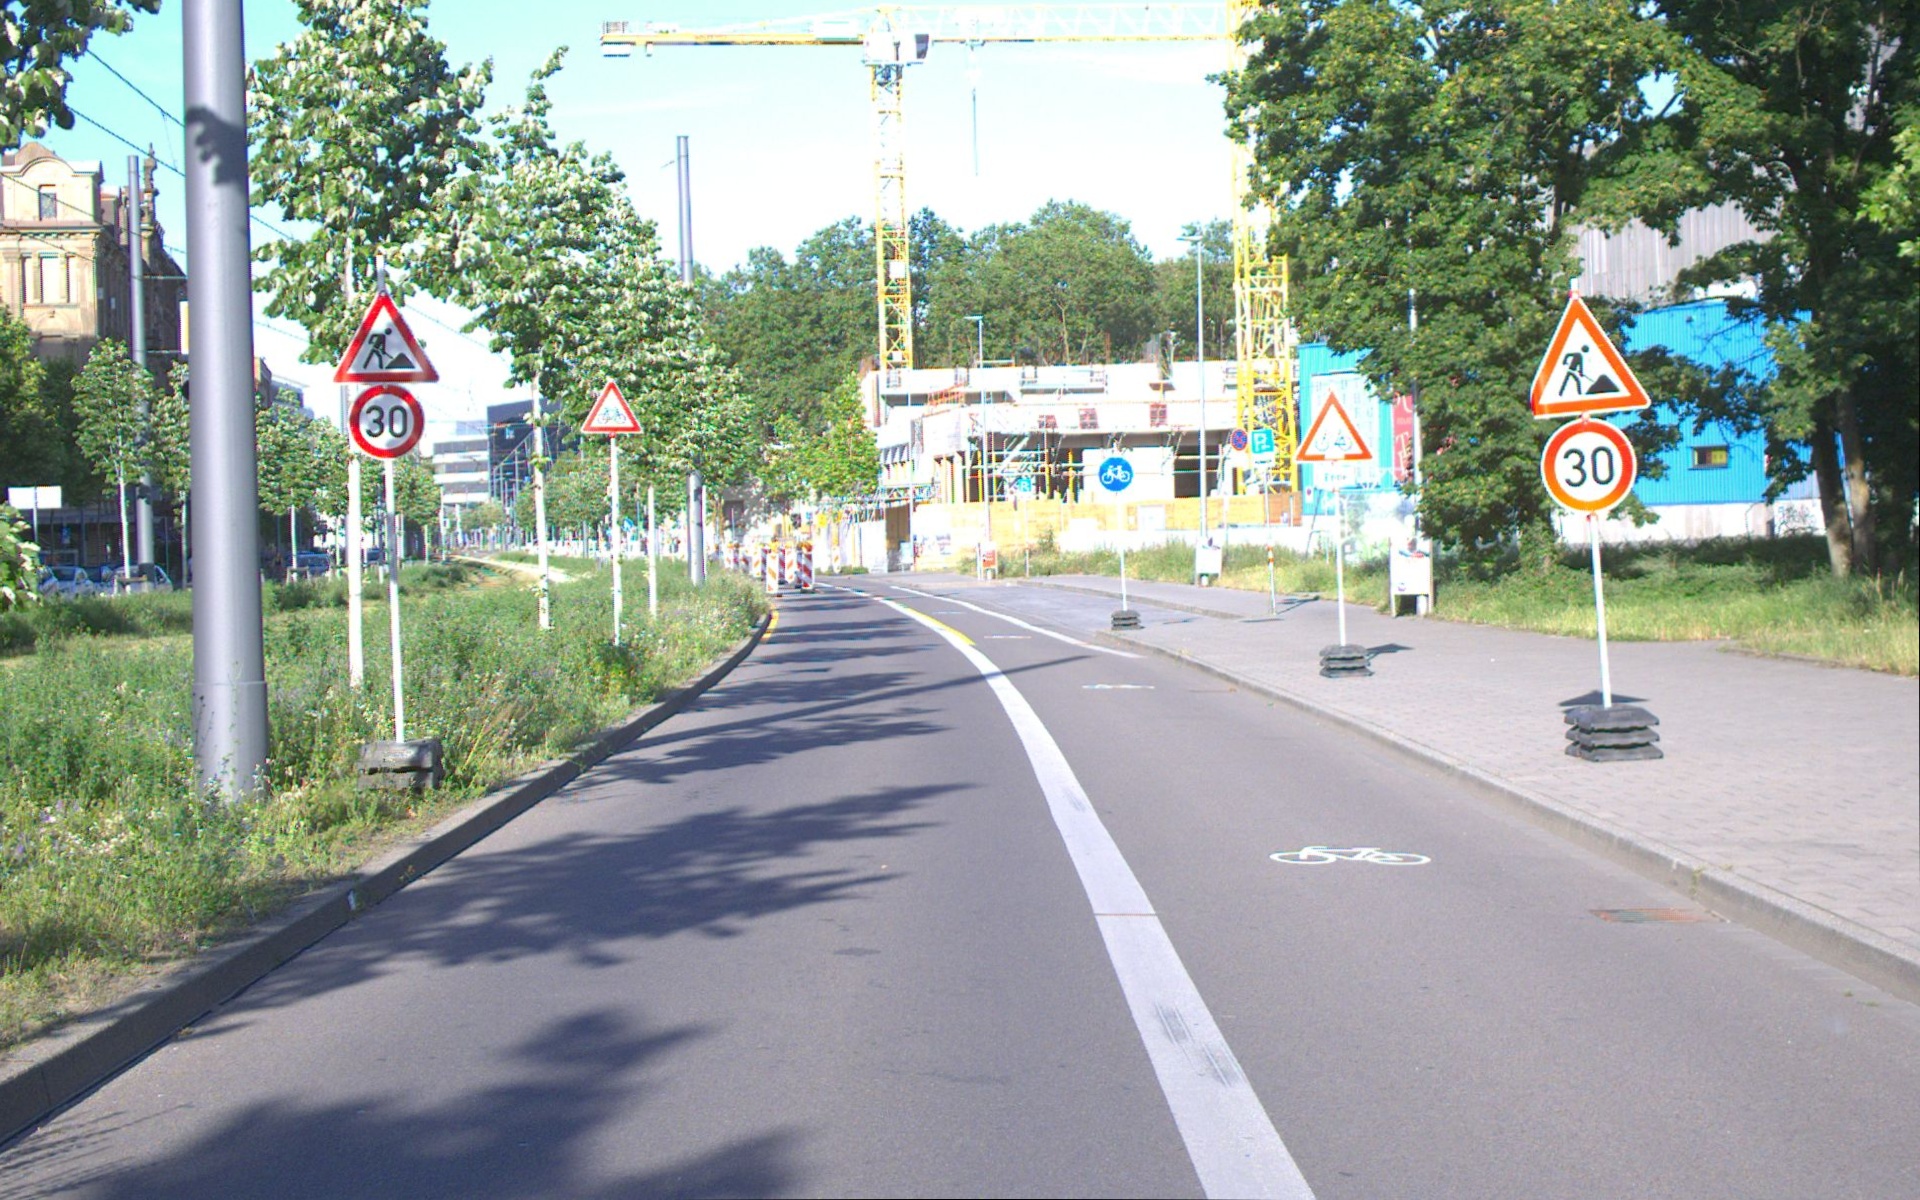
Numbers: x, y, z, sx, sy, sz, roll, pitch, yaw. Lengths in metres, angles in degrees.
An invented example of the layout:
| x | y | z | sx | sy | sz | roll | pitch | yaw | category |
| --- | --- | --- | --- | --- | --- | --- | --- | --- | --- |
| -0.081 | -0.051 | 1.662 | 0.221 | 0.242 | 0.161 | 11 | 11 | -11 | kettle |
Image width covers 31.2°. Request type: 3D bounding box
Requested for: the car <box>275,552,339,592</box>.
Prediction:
| x | y | z | sx | sy | sz | roll | pitch | yaw | category |
| --- | --- | --- | --- | --- | --- | --- | --- | --- | --- |
| -26.981 | -1.169 | 142.183 | 1.903 | 1.570 | 4.301 | -2 | 1 | -2 | car |

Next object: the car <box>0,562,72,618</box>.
| x | y | z | sx | sy | sz | roll | pitch | yaw | category |
| --- | --- | --- | --- | --- | --- | --- | --- | --- | --- |
| -28.378 | -0.300 | 104.186 | 1.903 | 1.570 | 4.301 | -2 | 1 | -2 | car |

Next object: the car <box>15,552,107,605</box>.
| x | y | z | sx | sy | sz | roll | pitch | yaw | category |
| --- | --- | --- | --- | --- | --- | --- | --- | --- | --- |
| -28.728 | -0.718 | 109.975 | 1.903 | 1.570 | 4.301 | -2 | 1 | -2 | car |

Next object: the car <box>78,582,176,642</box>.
| x | y | z | sx | sy | sz | roll | pitch | yaw | category |
| --- | --- | --- | --- | --- | --- | --- | --- | --- | --- |
| -23.788 | 0.330 | 98.245 | 1.903 | 1.570 | 4.001 | -2 | 1 | -2 | car |
